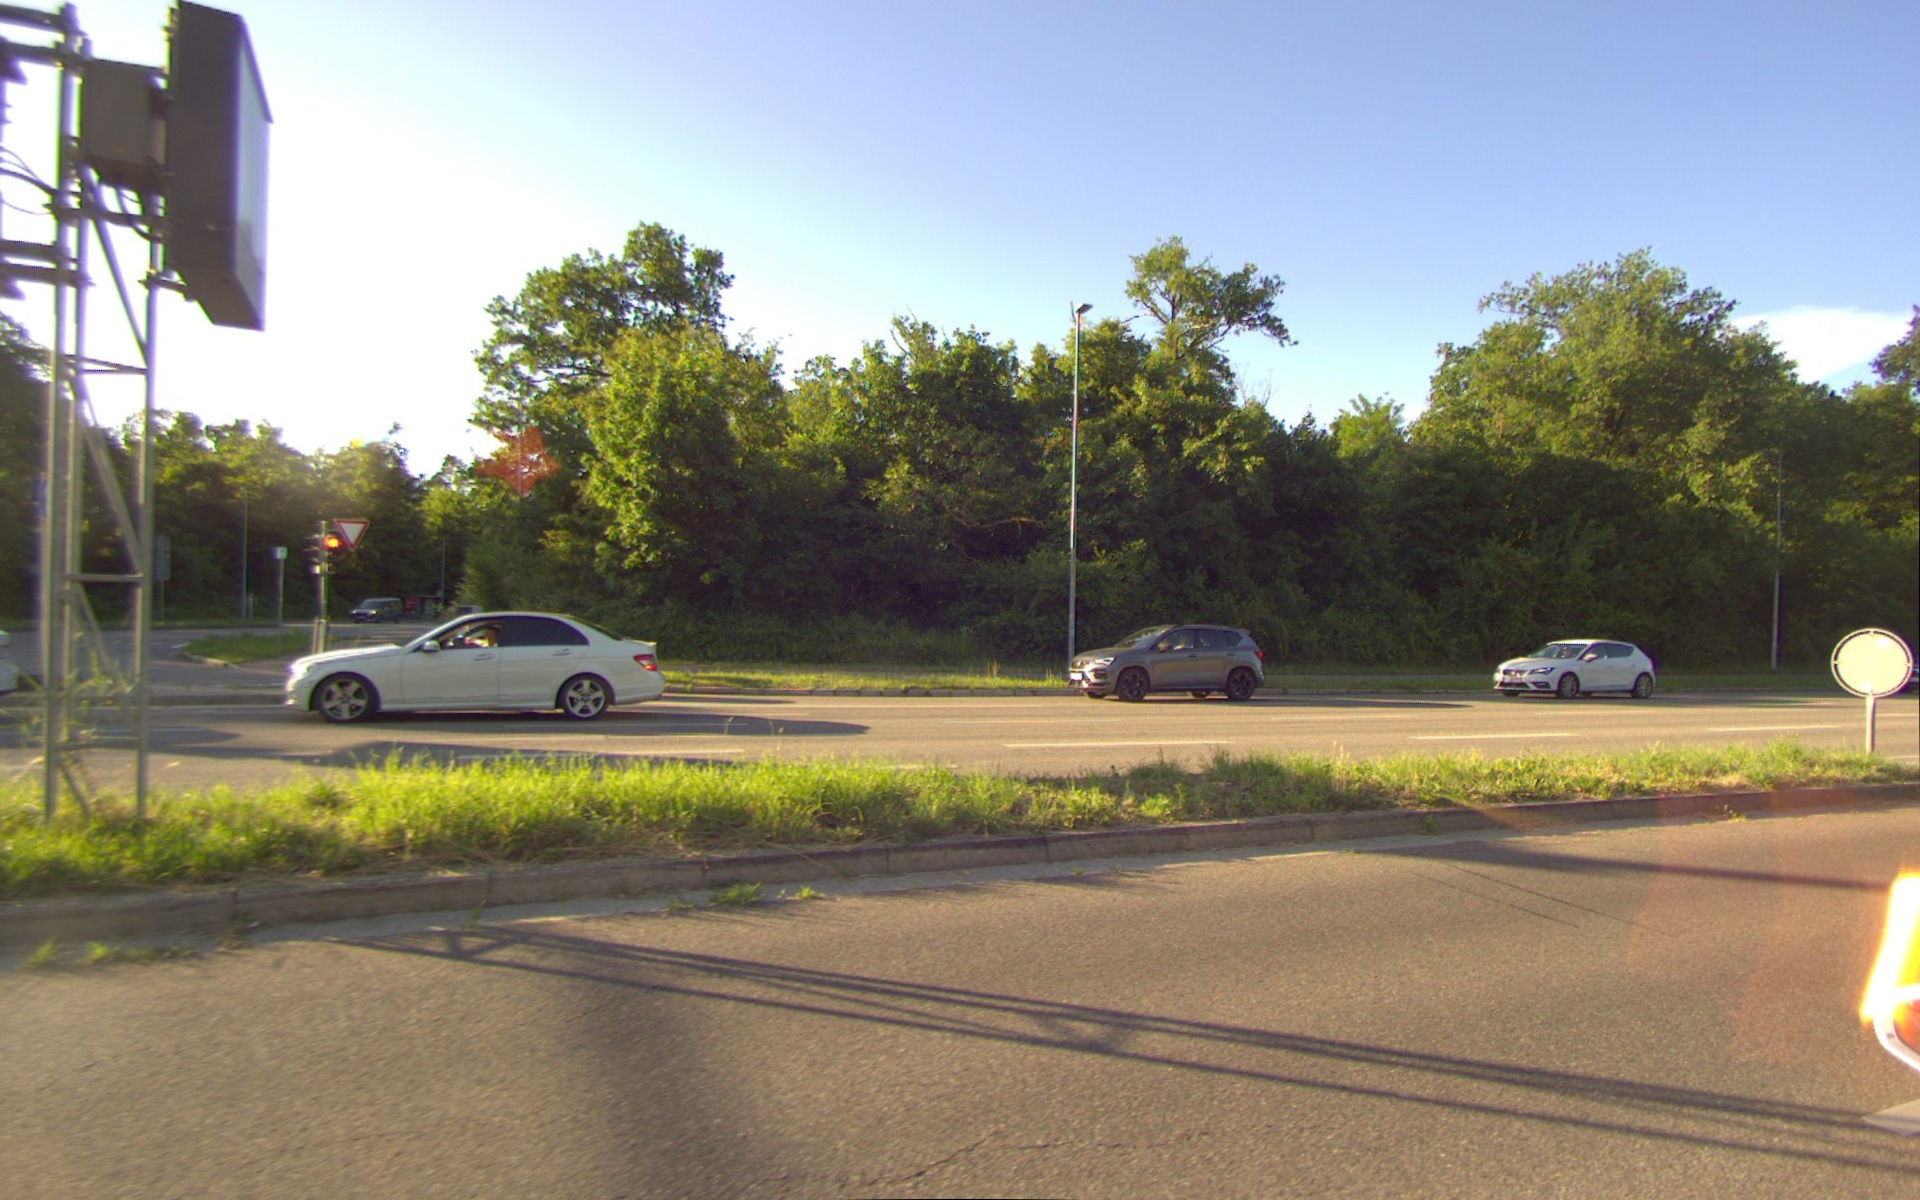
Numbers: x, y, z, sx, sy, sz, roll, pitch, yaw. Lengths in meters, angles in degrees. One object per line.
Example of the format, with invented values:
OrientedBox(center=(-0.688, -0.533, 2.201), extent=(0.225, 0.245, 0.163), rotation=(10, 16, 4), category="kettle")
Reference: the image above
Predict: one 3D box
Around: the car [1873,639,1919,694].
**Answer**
OrientedBox(center=(29.857, 1.987, 29.966), extent=(4.577, 1.584, 1.992), rotation=(2, -2, -20), category="car")

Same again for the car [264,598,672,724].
OrientedBox(center=(-6.371, 0.809, 13.556), extent=(4.581, 1.470, 1.990), rotation=(2, -2, -22), category="car")

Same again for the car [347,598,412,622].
OrientedBox(center=(-42.738, 0.746, 74.119), extent=(1.960, 1.709, 4.743), rotation=(1, -1, 0), category="car")

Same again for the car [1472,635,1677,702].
OrientedBox(center=(15.491, 1.709, 25.349), extent=(4.577, 1.584, 1.992), rotation=(2, -2, -20), category="car")

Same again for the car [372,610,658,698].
OrientedBox(center=(-8.334, 0.978, 19.031), extent=(4.553, 1.470, 2.001), rotation=(1, -1, 9), category="car")

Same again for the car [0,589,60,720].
OrientedBox(center=(-13.185, 0.556, 10.800), extent=(4.776, 1.470, 1.988), rotation=(2, -2, -25), category="car")

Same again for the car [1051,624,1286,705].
OrientedBox(center=(4.456, 1.361, 21.512), extent=(4.577, 1.584, 1.992), rotation=(2, -2, -20), category="car")
